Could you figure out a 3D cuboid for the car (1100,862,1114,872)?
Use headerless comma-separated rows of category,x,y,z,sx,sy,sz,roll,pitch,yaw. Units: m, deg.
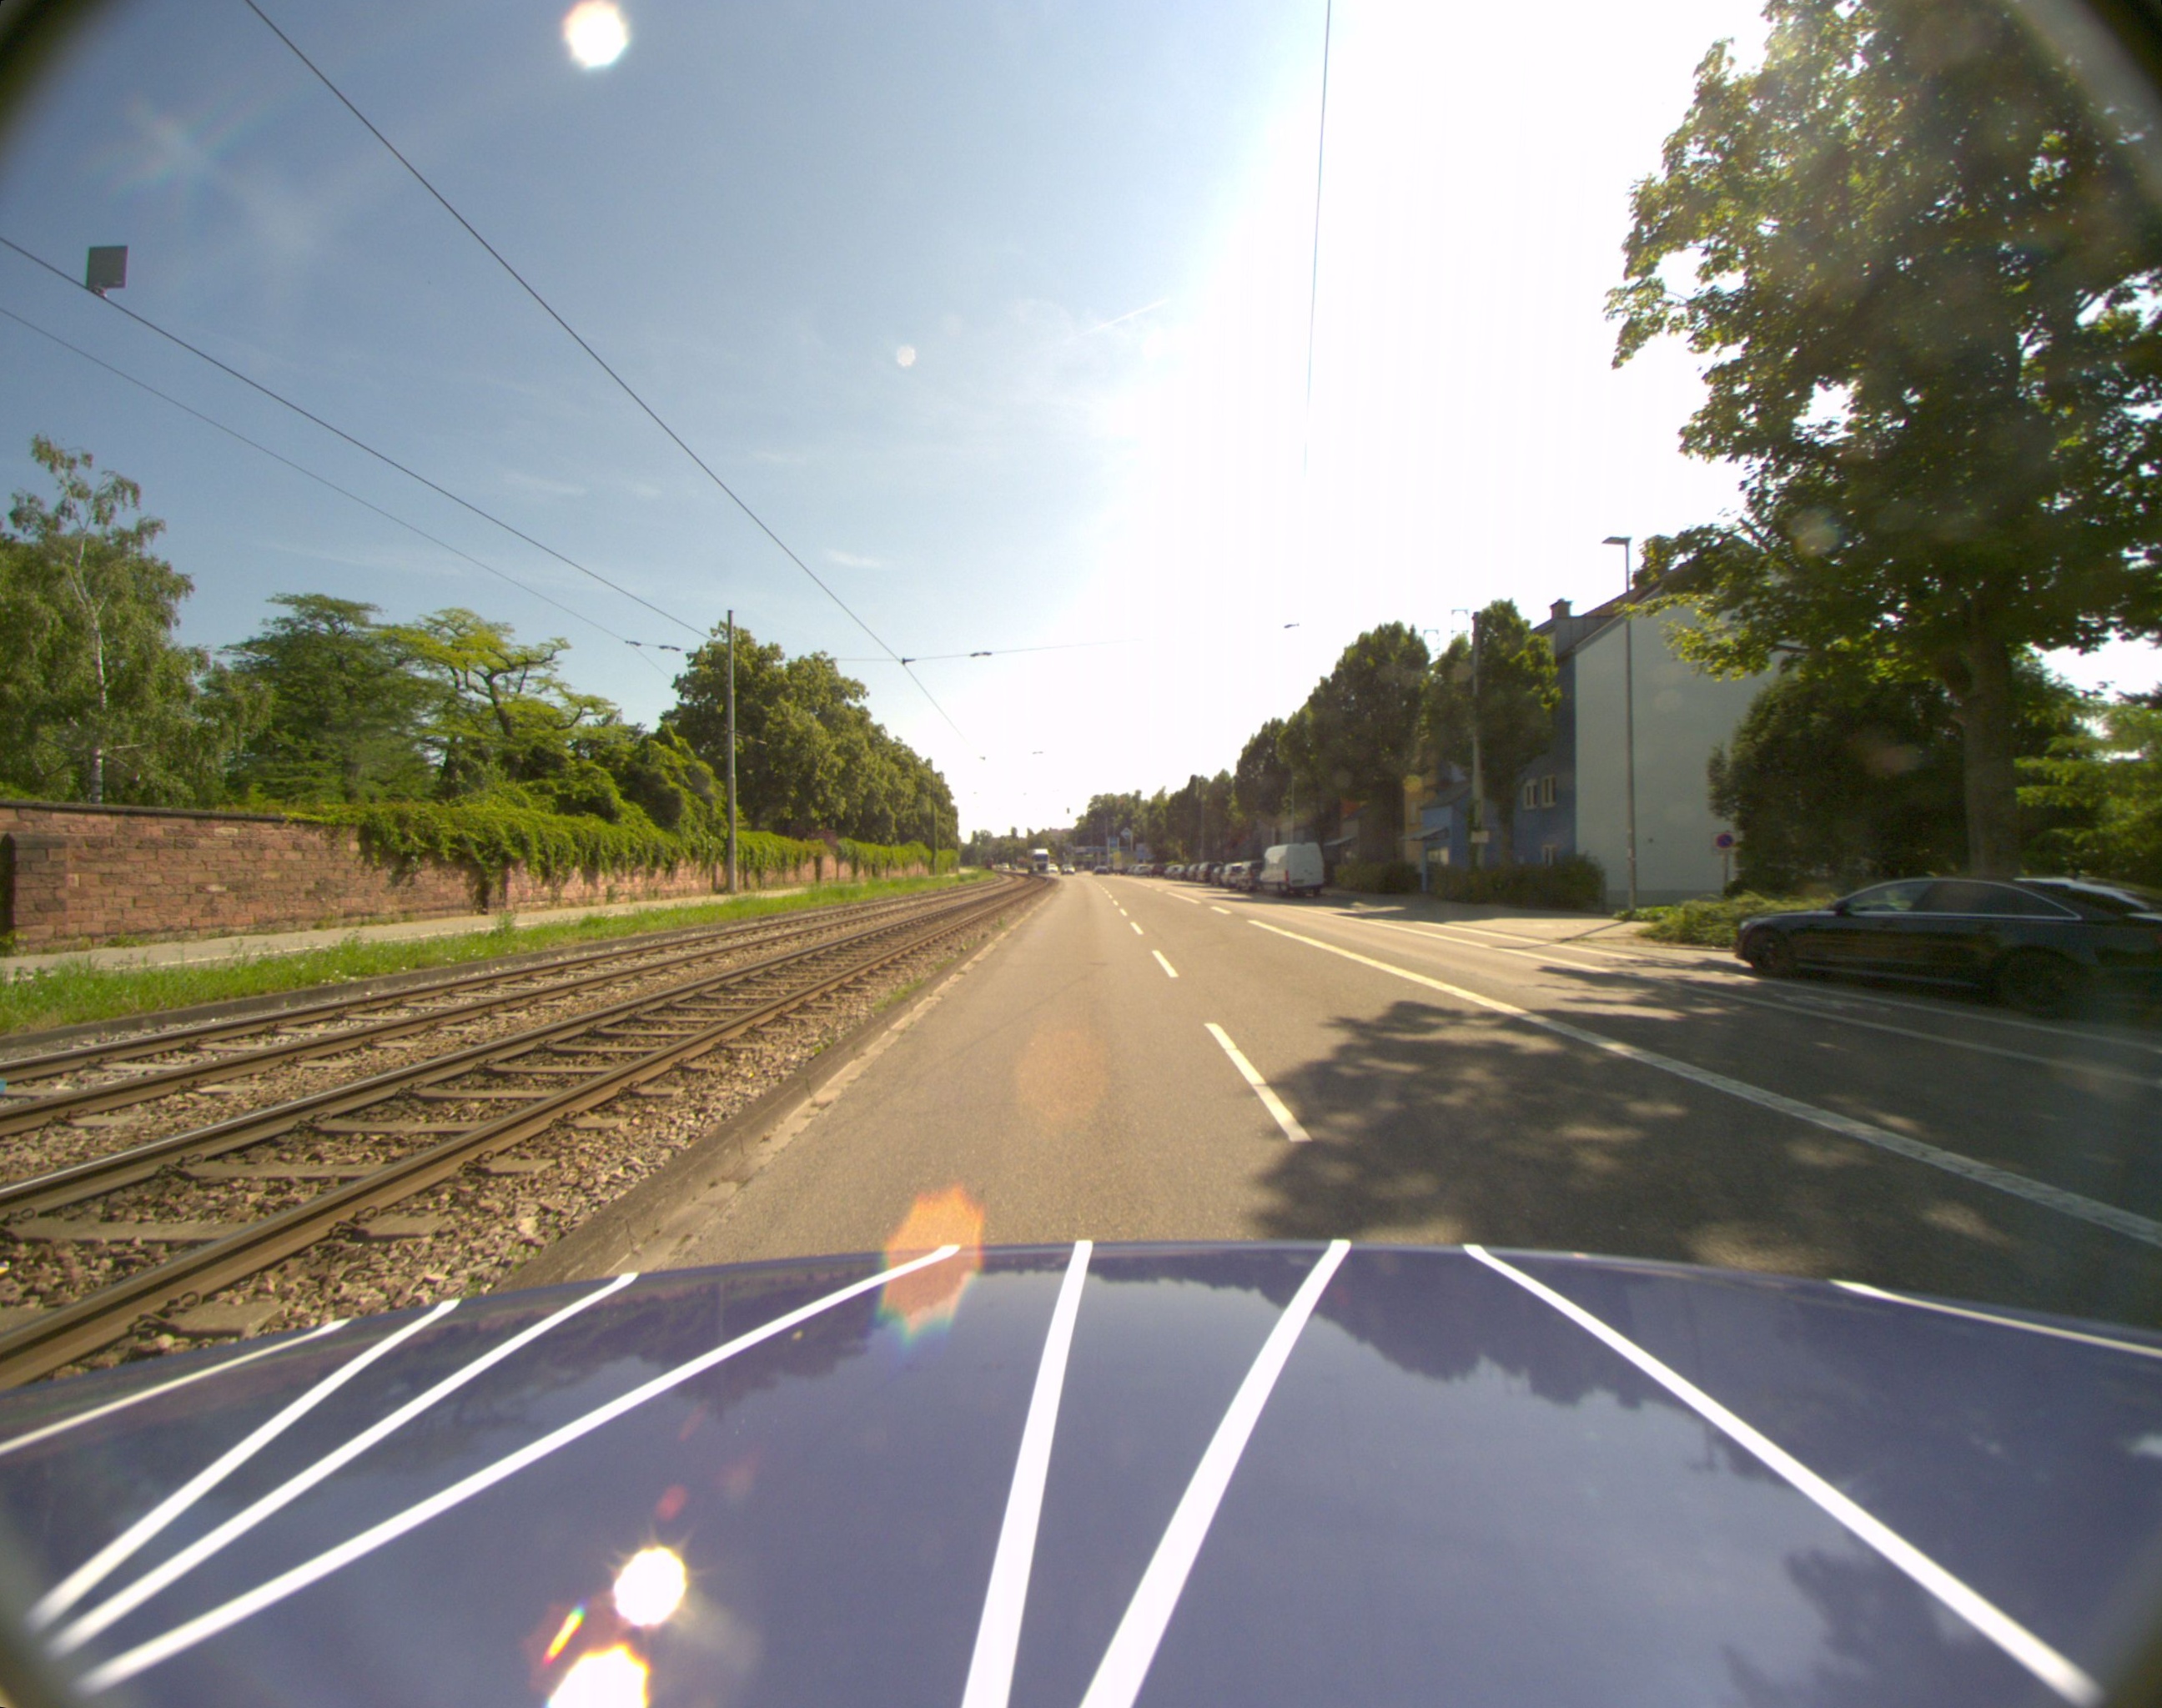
car,3.504,1.706,103.067,1.691,1.237,4.064,2,0,1

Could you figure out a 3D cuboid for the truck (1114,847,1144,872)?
truck,7.082,0.851,113.640,3.165,3.533,8.780,0,0,-6

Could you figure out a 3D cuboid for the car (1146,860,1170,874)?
car,9.469,1.552,93.818,1.911,1.567,4.929,-2,0,-6

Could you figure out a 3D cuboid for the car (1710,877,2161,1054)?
car,10.532,1.075,9.069,1.845,1.457,4.909,0,0,-2

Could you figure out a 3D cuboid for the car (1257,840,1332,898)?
car,11.080,0.750,40.096,1.998,2.661,7.087,-4,0,2

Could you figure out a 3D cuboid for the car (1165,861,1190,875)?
car,10.400,1.480,82.163,1.682,1.437,4.835,-2,0,-6

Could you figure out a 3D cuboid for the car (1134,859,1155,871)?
car,8.433,1.409,101.504,2.040,1.490,4.131,-2,0,-6

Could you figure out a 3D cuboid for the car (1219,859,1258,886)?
car,11.102,1.281,53.849,1.852,1.693,4.540,-4,0,1

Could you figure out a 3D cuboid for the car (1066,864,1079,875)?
car,-1.280,2.277,111.207,1.747,1.421,5.042,-1,0,1

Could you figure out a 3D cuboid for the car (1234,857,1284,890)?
car,11.212,1.210,48.216,1.998,1.855,4.967,-4,0,1

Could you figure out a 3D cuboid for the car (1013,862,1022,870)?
car,-15.546,3.009,186.486,1.854,1.707,3.999,-2,1,-1

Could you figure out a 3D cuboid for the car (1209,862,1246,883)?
car,11.326,1.398,58.993,1.871,1.446,4.074,-4,0,-3

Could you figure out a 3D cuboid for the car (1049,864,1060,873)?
car,-4.734,2.557,136.034,1.784,1.538,4.394,-2,0,0

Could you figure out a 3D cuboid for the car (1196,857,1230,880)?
car,11.068,1.193,64.090,1.834,1.718,4.349,-2,0,-3

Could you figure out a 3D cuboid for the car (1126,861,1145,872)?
car,7.608,1.730,106.077,1.915,1.469,4.214,-2,0,-6

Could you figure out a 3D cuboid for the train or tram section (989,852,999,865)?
train or tram section,-27.333,1.361,238.333,2.722,3.715,18.869,-1,0,-6

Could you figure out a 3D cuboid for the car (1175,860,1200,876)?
car,10.597,1.328,75.647,1.681,1.461,4.213,-2,0,-3

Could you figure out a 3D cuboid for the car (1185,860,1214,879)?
car,10.781,1.403,69.367,1.681,1.598,4.165,-2,0,-3

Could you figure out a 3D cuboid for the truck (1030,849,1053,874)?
truck,-6.548,1.158,124.536,2.807,3.926,11.935,0,0,-8
